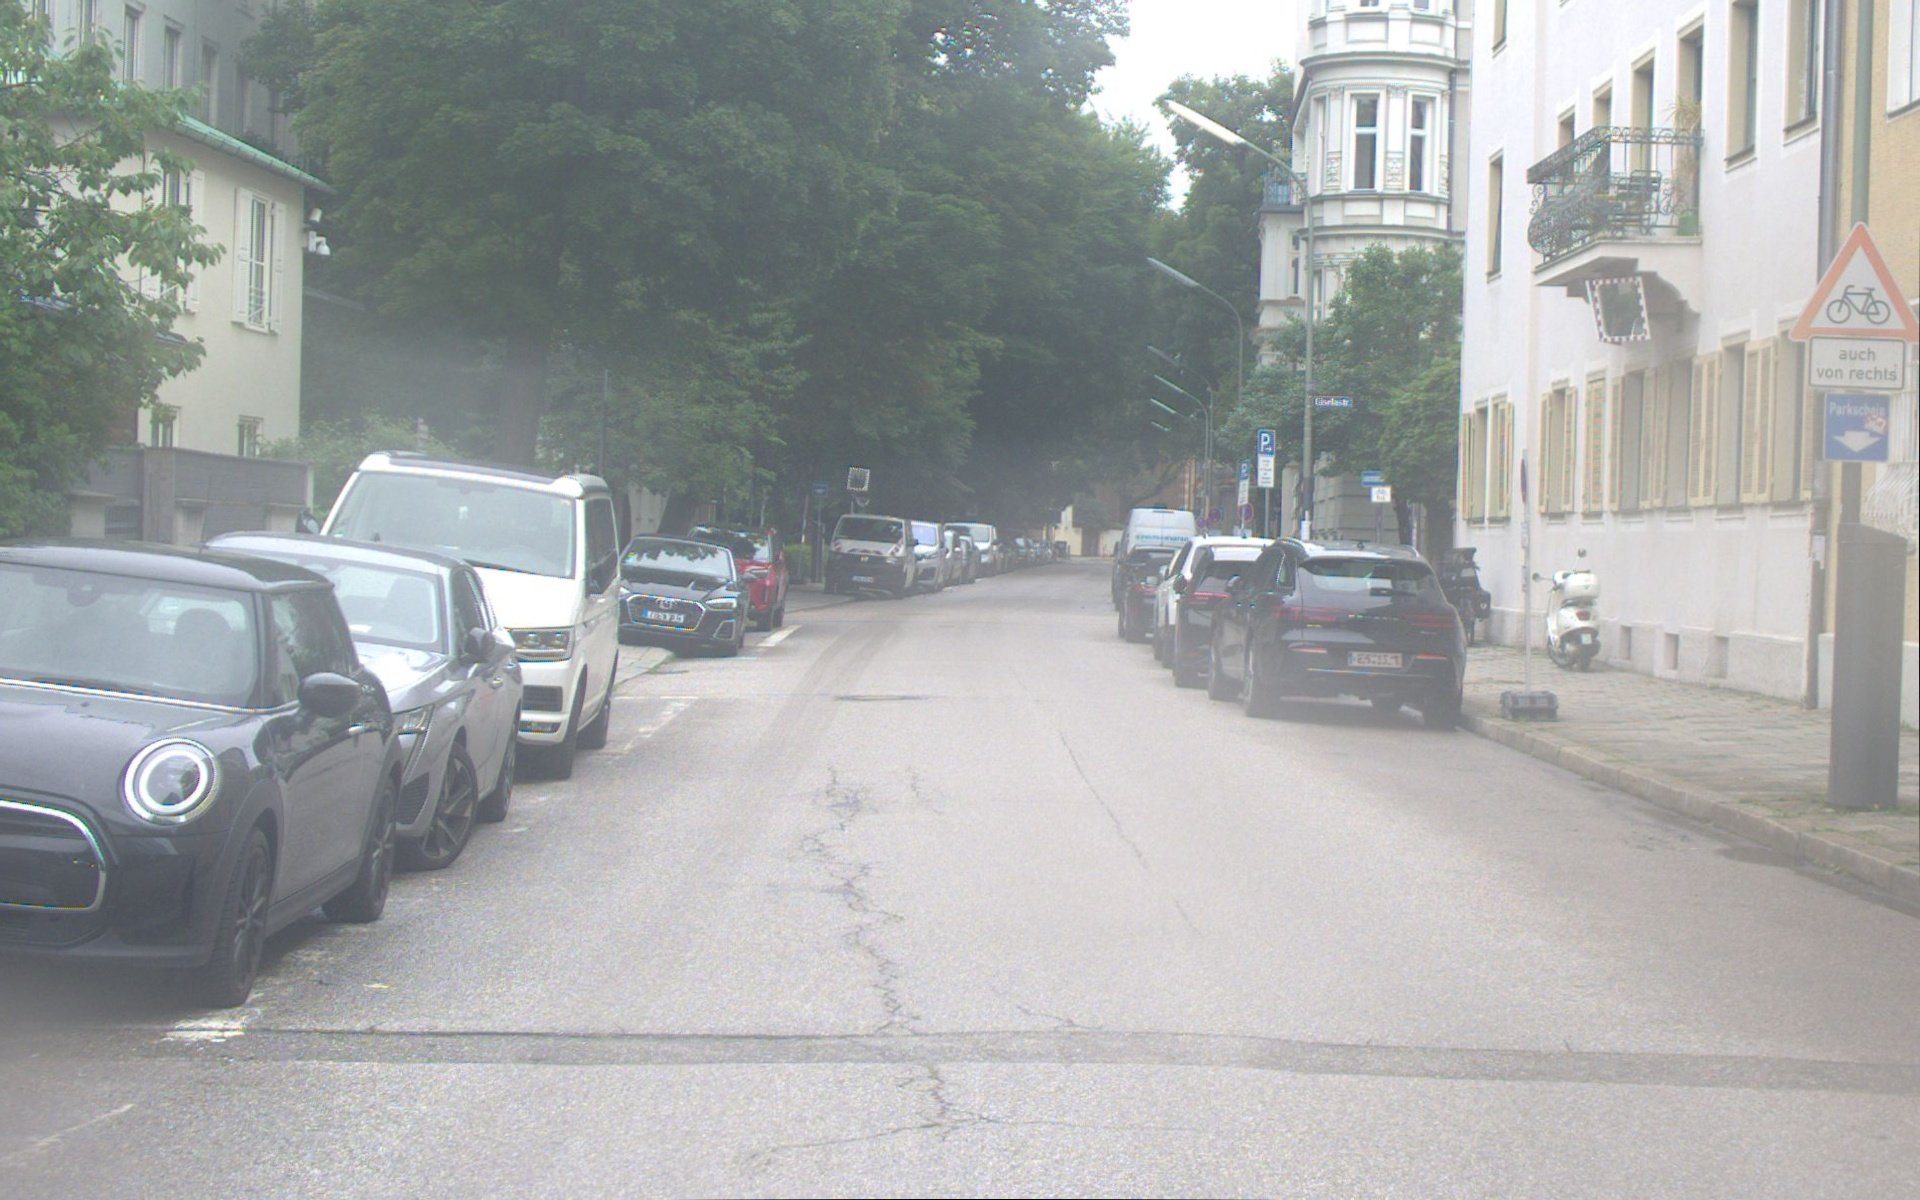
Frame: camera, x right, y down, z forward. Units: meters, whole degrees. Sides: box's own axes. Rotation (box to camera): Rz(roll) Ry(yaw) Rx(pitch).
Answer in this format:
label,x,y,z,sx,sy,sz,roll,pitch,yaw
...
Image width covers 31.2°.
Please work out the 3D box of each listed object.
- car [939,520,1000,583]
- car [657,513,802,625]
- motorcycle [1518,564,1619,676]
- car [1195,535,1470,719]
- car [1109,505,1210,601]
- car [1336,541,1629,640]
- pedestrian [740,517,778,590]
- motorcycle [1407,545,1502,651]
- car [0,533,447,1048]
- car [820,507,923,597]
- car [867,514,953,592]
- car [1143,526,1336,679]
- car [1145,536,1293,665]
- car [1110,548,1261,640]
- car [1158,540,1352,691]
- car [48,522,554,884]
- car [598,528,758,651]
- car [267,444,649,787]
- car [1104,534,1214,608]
label,x,y,z,sx,sy,sz,roll,pitch,yaw
car,0.364,-1.799,126.752,2.002,2.179,4.696,3,1,2
car,-3.571,-0.505,53.966,1.887,1.585,4.528,3,1,0
motorcycle,7.105,0.213,40.251,0.732,1.235,2.008,3,1,-1
car,3.434,0.193,32.591,1.860,1.571,4.900,1,1,-2
car,4.715,-1.103,81.890,2.203,2.201,4.855,1,1,1
car,9.292,-0.183,61.424,4.906,1.526,1.913,1,4,0
pedestrian,-4.341,-1.005,74.300,0.713,1.543,0.753,4,1,-3
motorcycle,7.033,-0.047,49.041,0.857,1.428,2.707,2,1,-1
car,-3.119,0.534,12.395,1.859,1.539,4.188,0,1,1
car,-2.075,-1.156,82.096,2.247,1.950,5.454,3,1,0
car,-1.331,-1.290,93.794,2.183,1.950,5.167,3,1,0
car,3.463,-0.022,43.330,1.993,1.701,4.534,4,1,0
car,3.569,-0.022,47.952,1.771,1.540,3.711,6,1,2
car,3.416,-0.125,52.832,2.000,1.314,4.595,-1,1,0
car,3.201,0.124,38.031,1.838,1.526,4.415,1,1,1
car,-3.175,0.403,17.484,1.887,1.538,4.697,2,1,-3
car,-3.570,-0.180,44.233,1.807,1.397,4.925,3,1,-3
car,-3.282,0.044,23.453,1.966,1.983,5.152,3,1,-3
car,4.367,-0.640,74.940,2.273,1.541,4.586,1,1,5
